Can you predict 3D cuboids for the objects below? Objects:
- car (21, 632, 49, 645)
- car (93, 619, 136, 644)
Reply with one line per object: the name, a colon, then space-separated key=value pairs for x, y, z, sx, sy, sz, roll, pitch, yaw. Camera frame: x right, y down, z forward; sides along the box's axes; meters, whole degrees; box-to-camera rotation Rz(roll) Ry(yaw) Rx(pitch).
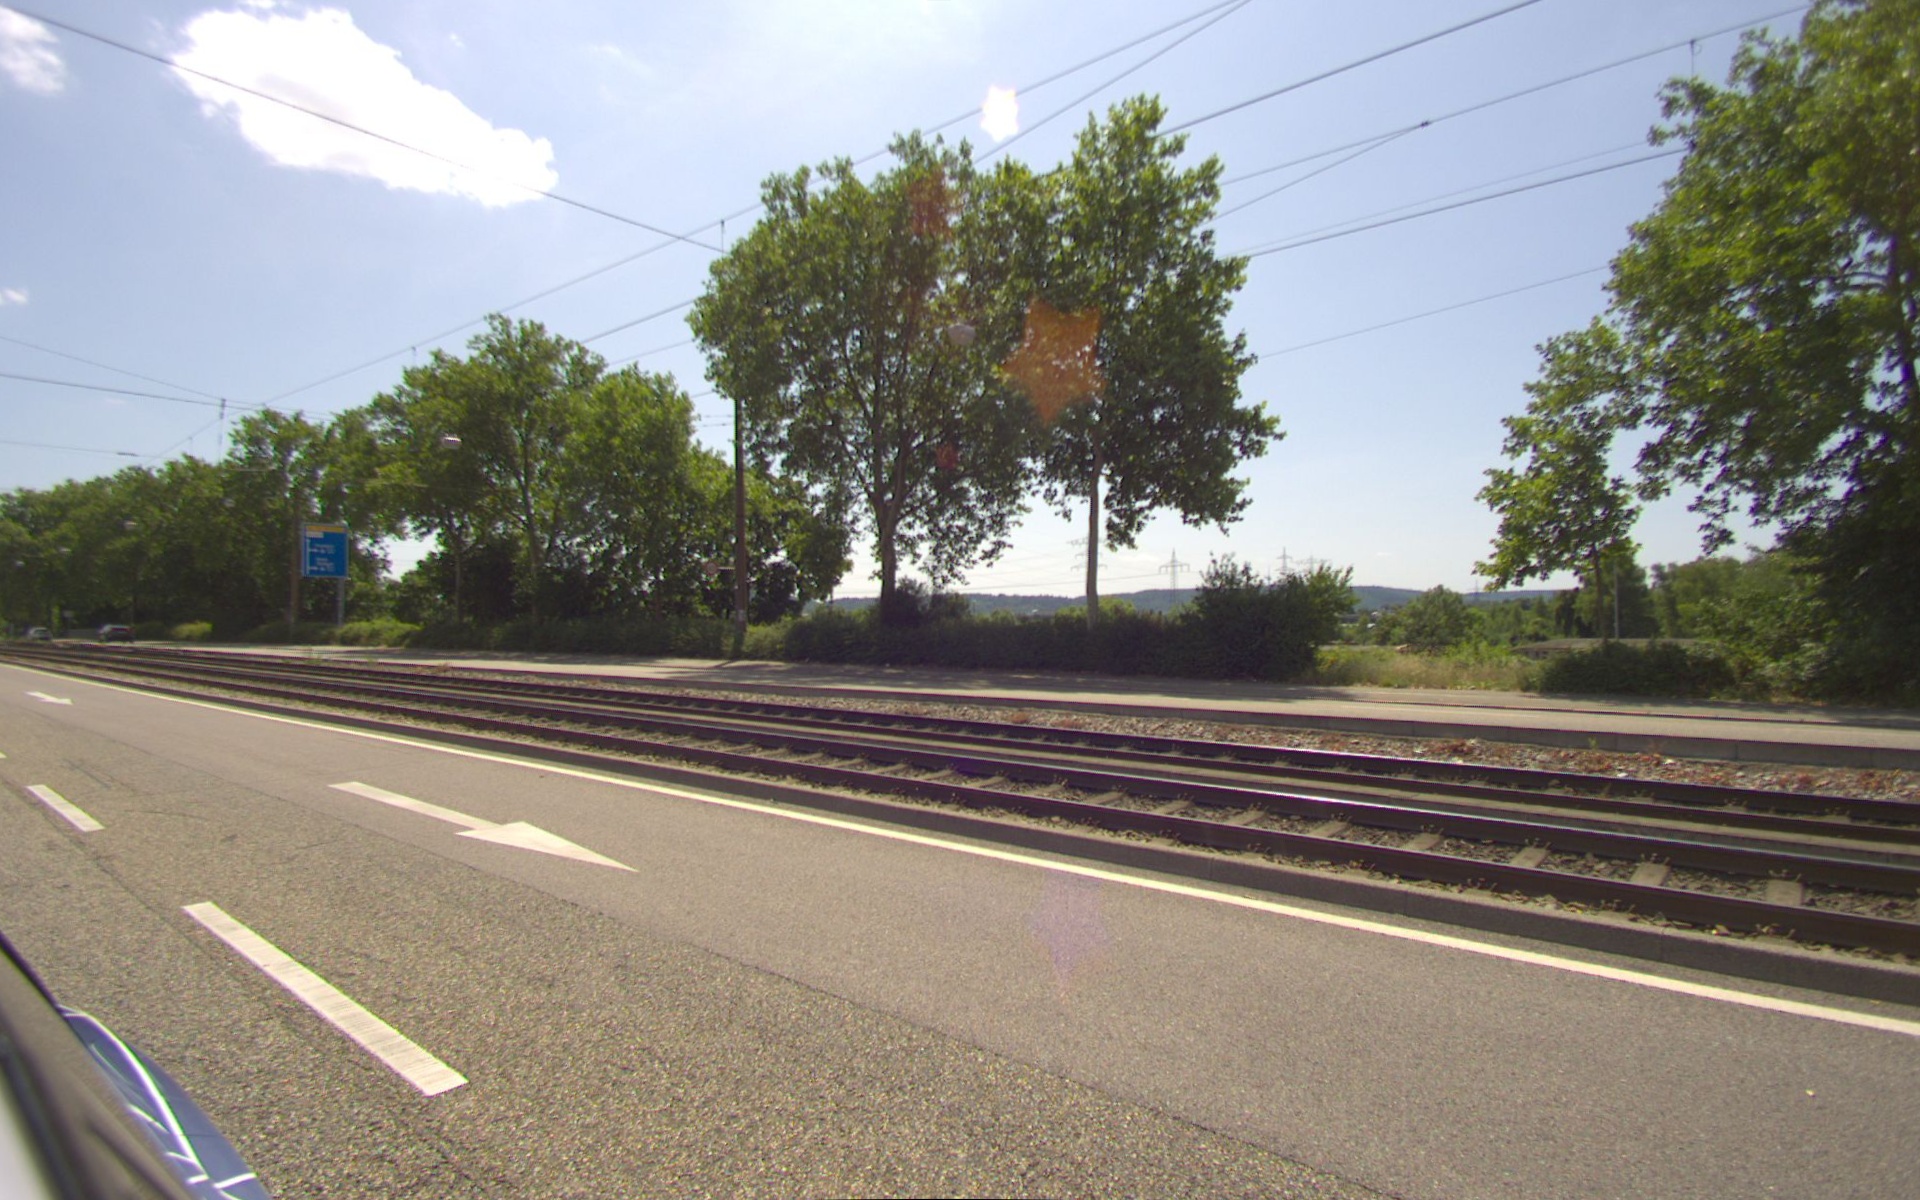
car: x=-97.933 y=4.074 z=107.083 sx=3.883 sy=1.427 sz=1.802 roll=-2 pitch=-4 yaw=43
car: x=-68.138 y=2.540 z=81.517 sx=4.408 sy=1.932 sz=1.973 roll=-1 pitch=-1 yaw=41
